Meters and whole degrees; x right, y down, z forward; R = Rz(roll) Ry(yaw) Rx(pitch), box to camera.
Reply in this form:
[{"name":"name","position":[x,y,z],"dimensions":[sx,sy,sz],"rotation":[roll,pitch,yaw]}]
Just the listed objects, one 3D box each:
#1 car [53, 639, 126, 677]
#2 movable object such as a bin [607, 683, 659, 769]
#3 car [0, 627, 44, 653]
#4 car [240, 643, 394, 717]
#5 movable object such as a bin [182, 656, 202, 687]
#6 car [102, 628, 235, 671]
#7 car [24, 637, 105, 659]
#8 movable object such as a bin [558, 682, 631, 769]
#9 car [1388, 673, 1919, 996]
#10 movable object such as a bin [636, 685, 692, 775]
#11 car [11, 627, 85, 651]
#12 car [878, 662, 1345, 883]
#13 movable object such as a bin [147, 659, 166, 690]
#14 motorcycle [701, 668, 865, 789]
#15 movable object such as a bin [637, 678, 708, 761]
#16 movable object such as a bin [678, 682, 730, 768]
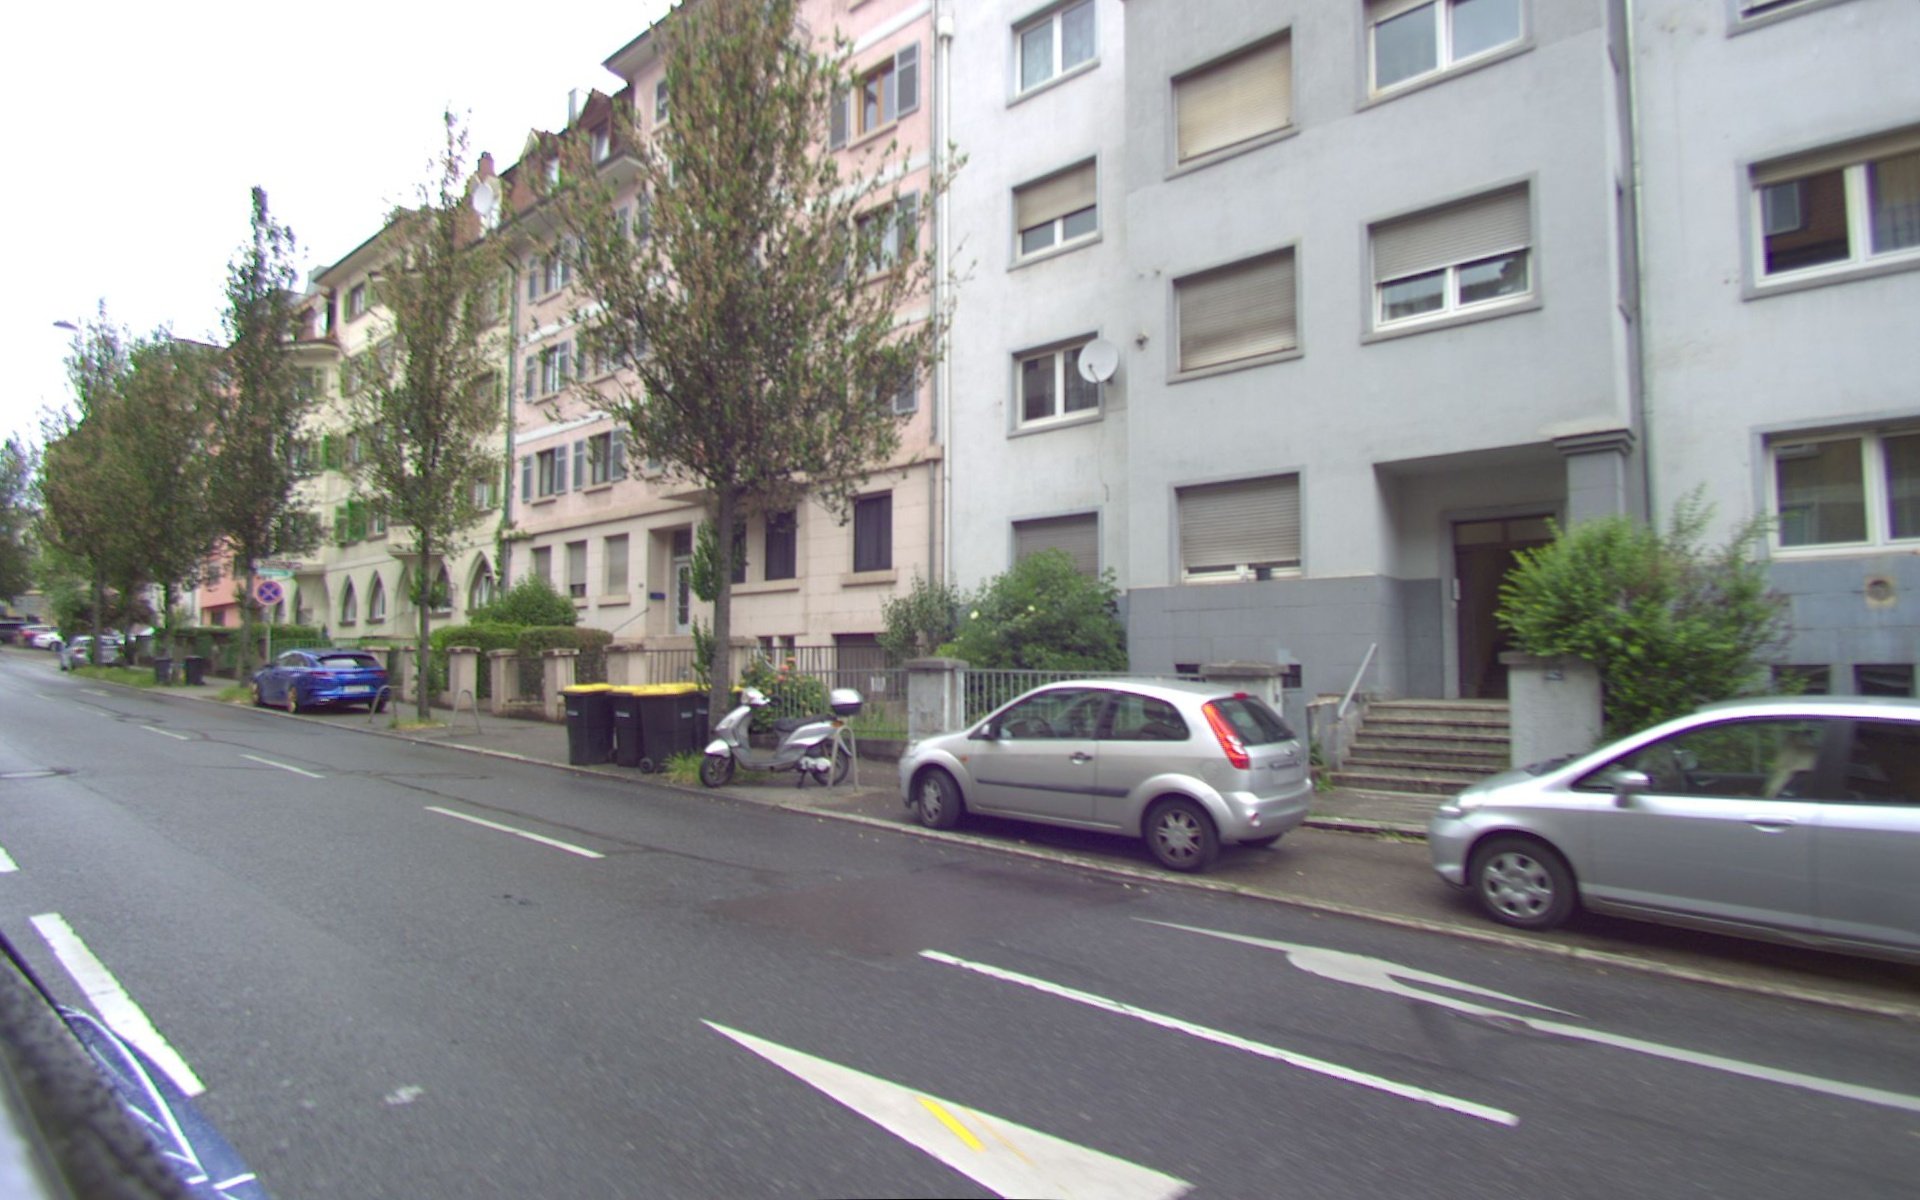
[{"name":"car","position":[-36.106,2.392,41.934],"dimensions":[4.135,1.428,1.664],"rotation":[-1,-4,41]},{"name":"movable object such as a bin","position":[-4.344,1.663,13.456],"dimensions":[0.482,1.066,0.467],"rotation":[0,0,32]},{"name":"car","position":[-71.921,2.971,76.352],"dimensions":[1.865,1.861,3.881],"rotation":[0,-4,38]},{"name":"car","position":[-14.647,1.748,22.948],"dimensions":[4.600,1.396,1.661],"rotation":[0,-3,41]},{"name":"movable object such as a bin","position":[-24.031,2.235,31.656],"dimensions":[0.572,0.918,0.360],"rotation":[0,-1,40]},{"name":"car","position":[-37.909,2.342,48.566],"dimensions":[1.917,1.919,4.673],"rotation":[0,-2,38]},{"name":"car","position":[-60.968,3.286,68.937],"dimensions":[1.646,1.307,3.878],"rotation":[0,-4,41]},{"name":"movable object such as a bin","position":[-4.952,1.684,13.725],"dimensions":[0.483,1.066,0.816],"rotation":[0,0,42]},{"name":"car","position":[4.839,1.266,6.064],"dimensions":[3.889,1.462,1.582],"rotation":[0,-3,44]},{"name":"movable object such as a bin","position":[-3.788,1.648,12.956],"dimensions":[0.480,1.066,0.522],"rotation":[0,0,19]},{"name":"car","position":[-68.473,2.968,76.007],"dimensions":[1.592,1.634,3.878],"rotation":[-1,-4,41]},{"name":"car","position":[1.219,1.342,9.070],"dimensions":[3.884,1.407,1.584],"rotation":[0,-3,40]},{"name":"movable object such as a bin","position":[-24.517,2.271,30.878],"dimensions":[0.572,0.896,0.360],"rotation":[-1,-2,40]},{"name":"motorcycle","position":[-2.031,1.472,11.733],"dimensions":[1.782,1.325,0.743],"rotation":[2,-3,-8]},{"name":"movable object such as a bin","position":[-4.027,1.651,14.198],"dimensions":[0.483,1.066,0.816],"rotation":[0,-1,42]},{"name":"movable object such as a bin","position":[-3.417,1.659,13.506],"dimensions":[0.482,1.066,0.467],"rotation":[0,0,32]}]
